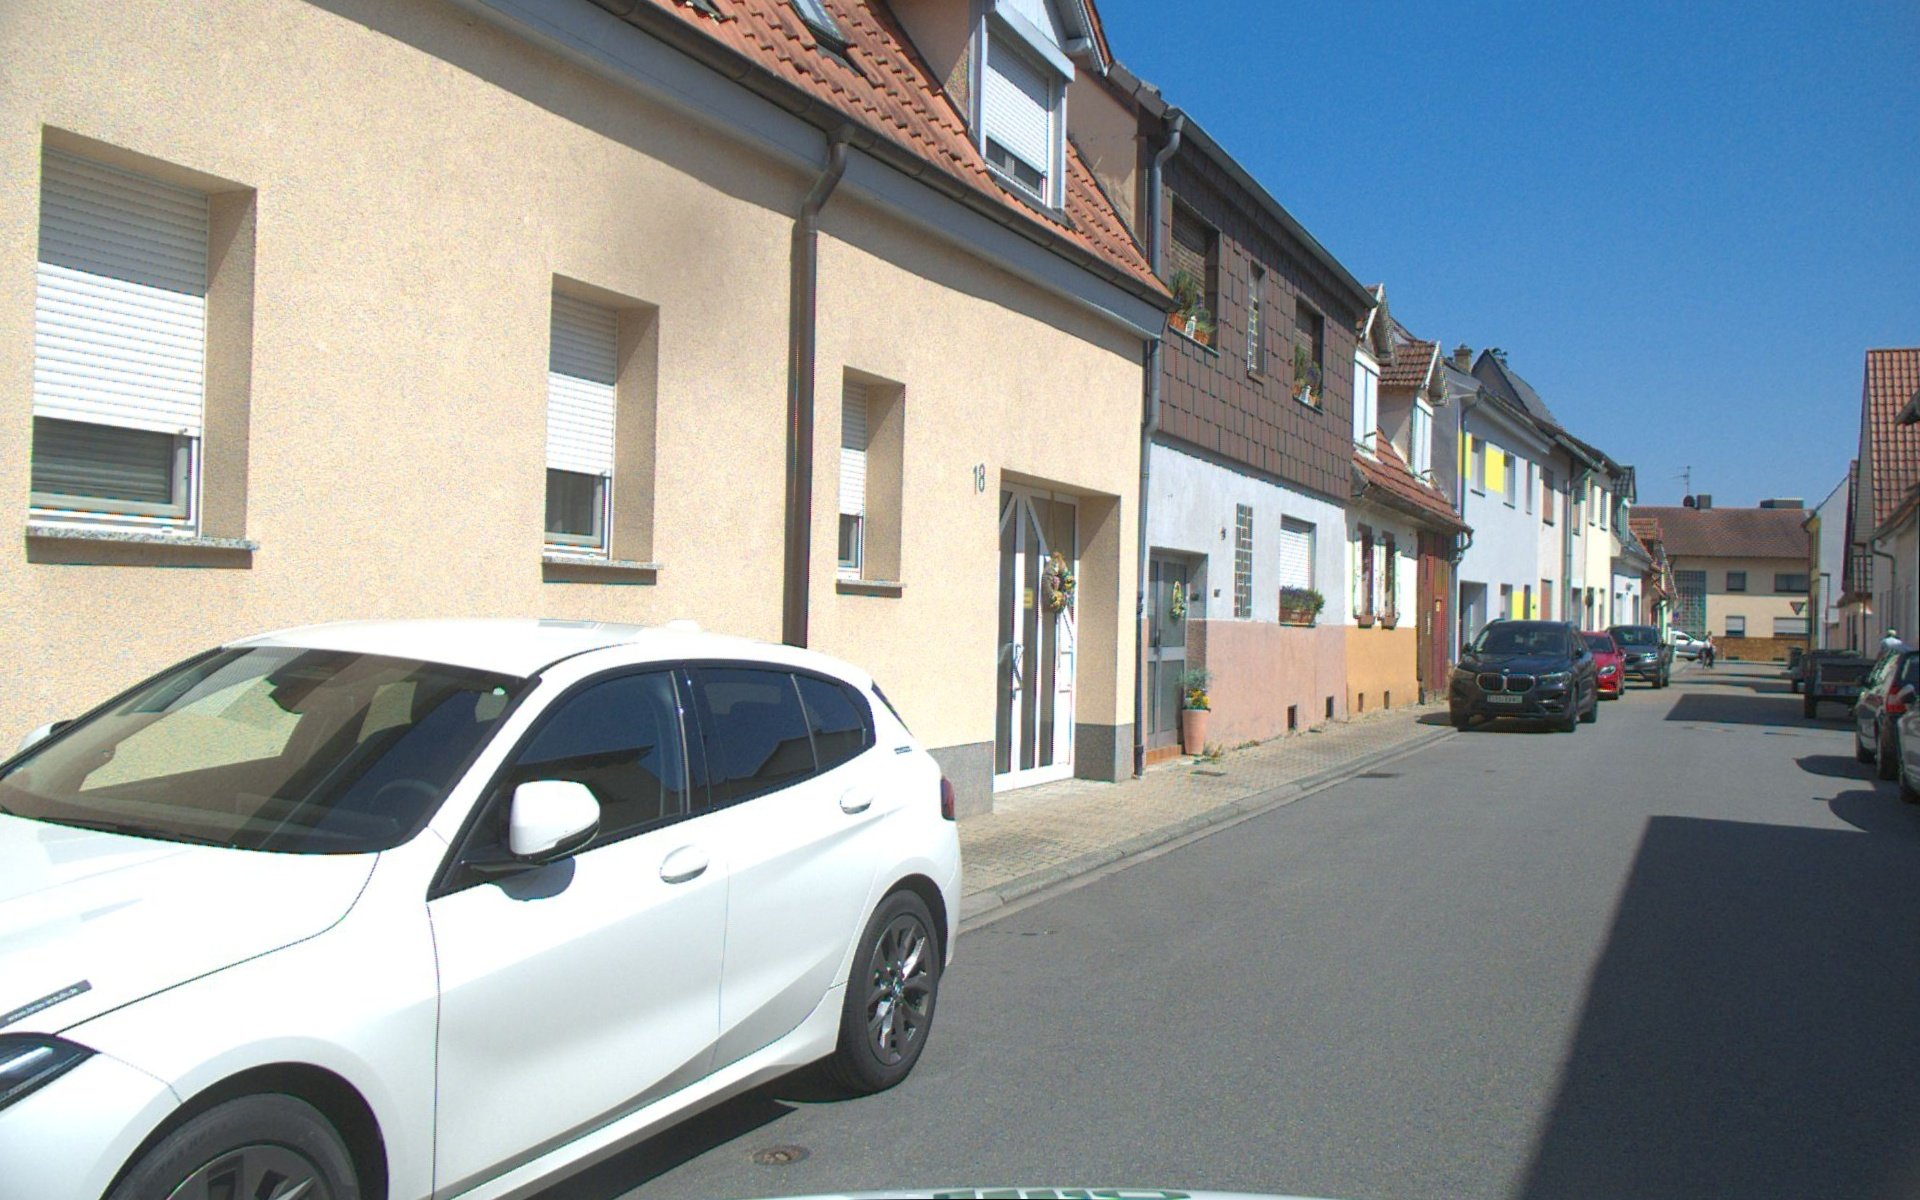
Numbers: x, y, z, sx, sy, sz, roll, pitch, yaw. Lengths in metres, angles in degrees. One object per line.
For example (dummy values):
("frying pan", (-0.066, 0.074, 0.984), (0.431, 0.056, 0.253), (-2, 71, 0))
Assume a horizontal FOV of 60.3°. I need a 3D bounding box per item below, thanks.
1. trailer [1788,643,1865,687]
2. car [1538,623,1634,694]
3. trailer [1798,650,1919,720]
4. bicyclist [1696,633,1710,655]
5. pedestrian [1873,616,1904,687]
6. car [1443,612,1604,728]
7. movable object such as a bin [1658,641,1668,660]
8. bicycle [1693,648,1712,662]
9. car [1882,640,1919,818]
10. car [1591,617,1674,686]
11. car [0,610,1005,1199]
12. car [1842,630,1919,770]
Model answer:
("trailer", (22.804, 1.689, 43.604), (1.666, 1.051, 3.478), (1, -1, 26))
("car", (14.123, 1.279, 37.196), (1.764, 1.466, 4.484), (0, -1, 24))
("trailer", (16.186, 1.494, 29.921), (1.782, 1.109, 3.477), (1, -1, 26))
("bicyclist", (32.745, 1.939, 72.930), (0.451, 0.976, 0.352), (-1, -1, 4))
("pedestrian", (21.452, 1.199, 38.218), (0.583, 1.592, 0.556), (1, -5, 24))
("car", (8.819, 1.038, 25.651), (1.765, 1.601, 4.609), (0, -1, 27))
("movable object such as a bin", (35.200, 2.550, 82.793), (0.439, 0.937, 0.404), (0, -1, 24))
("bicycle", (32.743, 2.411, 72.927), (0.432, 0.577, 0.939), (1, -1, 2))
("car", (9.184, 1.091, 14.246), (1.755, 1.507, 4.930), (-1, -2, 25))
("car", (17.870, 1.352, 43.864), (1.764, 1.734, 4.483), (-1, -2, 26))
("car", (-1.523, 0.786, 4.329), (1.747, 1.479, 4.212), (0, -1, 25))
("car", (11.323, 1.109, 19.167), (1.616, 1.461, 4.132), (0, -1, 23))
